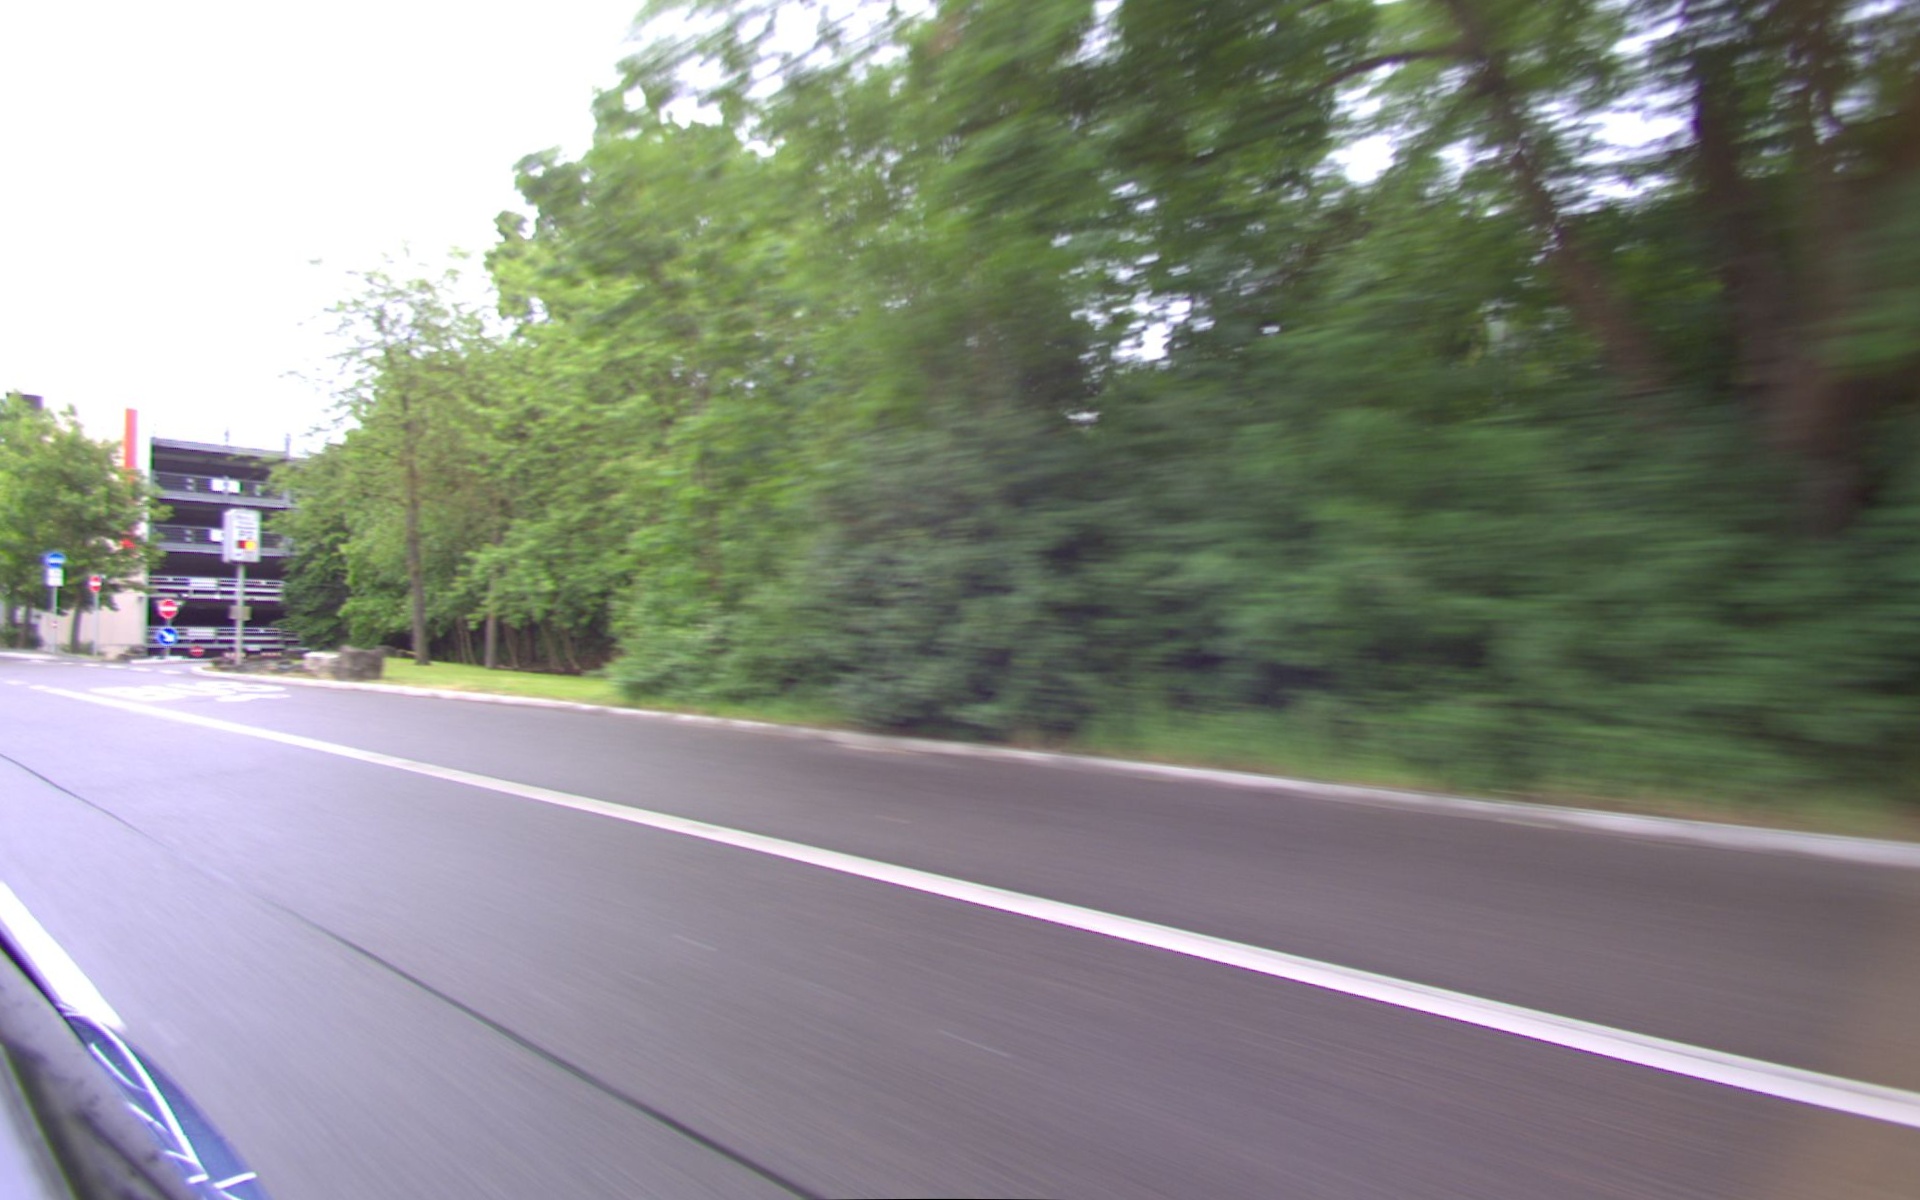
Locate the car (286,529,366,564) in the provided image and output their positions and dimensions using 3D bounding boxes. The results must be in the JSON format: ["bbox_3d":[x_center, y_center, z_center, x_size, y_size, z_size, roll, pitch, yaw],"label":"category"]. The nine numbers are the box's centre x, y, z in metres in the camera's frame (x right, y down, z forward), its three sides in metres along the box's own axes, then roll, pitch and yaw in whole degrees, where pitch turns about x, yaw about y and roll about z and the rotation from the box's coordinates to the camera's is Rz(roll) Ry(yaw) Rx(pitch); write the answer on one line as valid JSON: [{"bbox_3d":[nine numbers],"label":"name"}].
[{"bbox_3d":[-39.790,-3.348,63.545,3.937,1.785,2.003,2,-4,-41],"label":"car"}]

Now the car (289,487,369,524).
[{"bbox_3d":[-39.544,-5.897,63.462,3.937,1.785,2.003,2,-4,-41],"label":"car"}]
